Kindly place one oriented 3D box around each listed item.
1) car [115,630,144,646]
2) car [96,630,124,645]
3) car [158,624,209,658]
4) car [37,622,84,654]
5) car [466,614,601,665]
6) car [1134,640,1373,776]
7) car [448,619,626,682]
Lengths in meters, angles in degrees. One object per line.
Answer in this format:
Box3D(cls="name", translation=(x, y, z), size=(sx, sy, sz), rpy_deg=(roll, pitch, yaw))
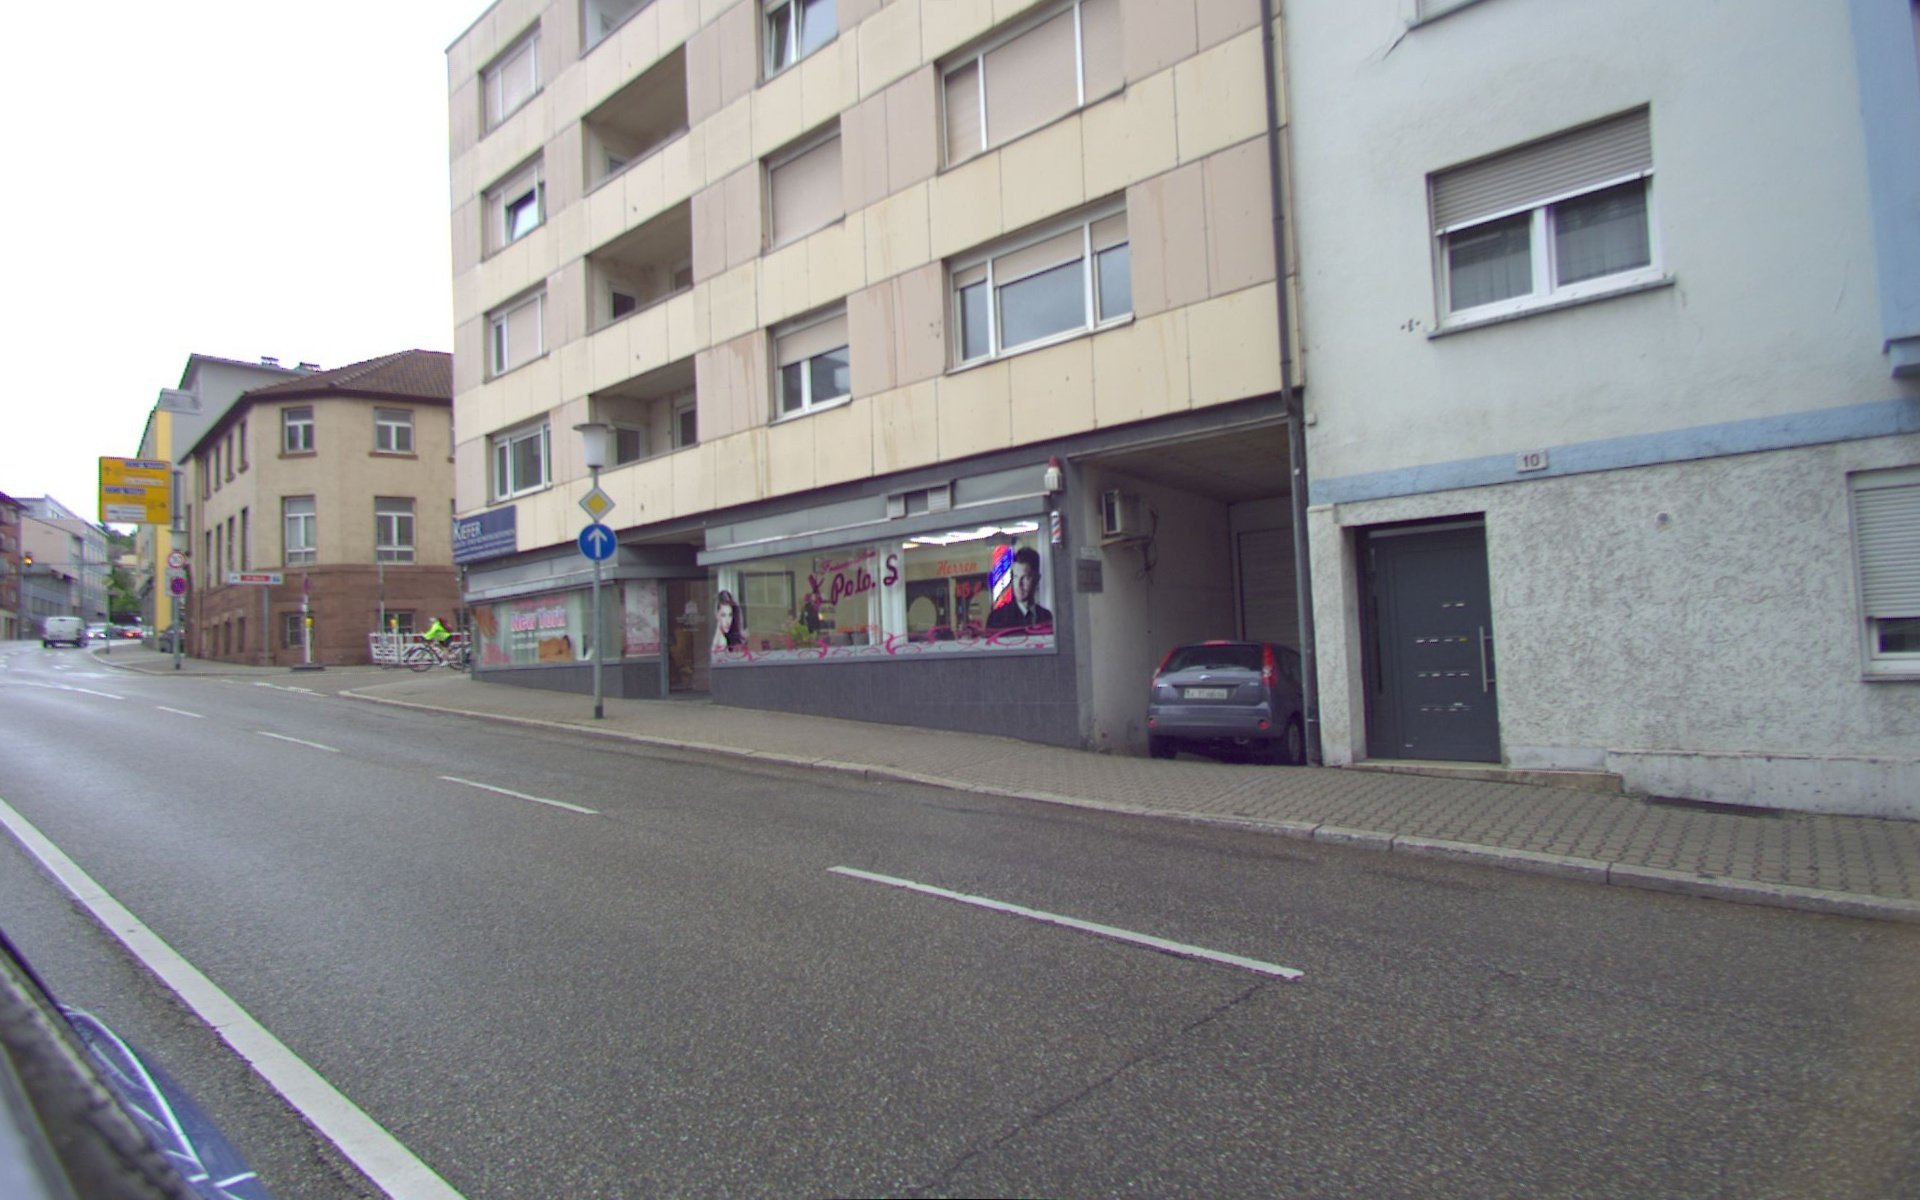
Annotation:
Box3D(cls="car", translation=(-80.006, 3.626, 97.507), size=(1.833, 1.465, 4.329), rpy_deg=(1, -2, -35))
Box3D(cls="car", translation=(-85.299, 3.717, 101.540), size=(1.833, 1.465, 4.328), rpy_deg=(1, -2, -36))
Box3D(cls="car", translation=(-37.966, 1.985, 49.457), size=(1.834, 1.465, 3.969), rpy_deg=(-3, 0, -39))
Box3D(cls="car", translation=(-54.651, 2.302, 61.555), size=(1.837, 1.817, 4.274), rpy_deg=(2, -3, -39))
Box3D(cls="car", translation=(-14.000, 1.282, 33.269), size=(3.750, 1.478, 1.758), rpy_deg=(-1, -3, -36))
Box3D(cls="car", translation=(3.696, 1.384, 12.276), size=(1.674, 1.361, 3.954), rpy_deg=(-3, -10, 33))
Box3D(cls="car", translation=(-11.871, 1.372, 28.542), size=(4.296, 1.515, 1.757), rpy_deg=(-1, -1, -39))
